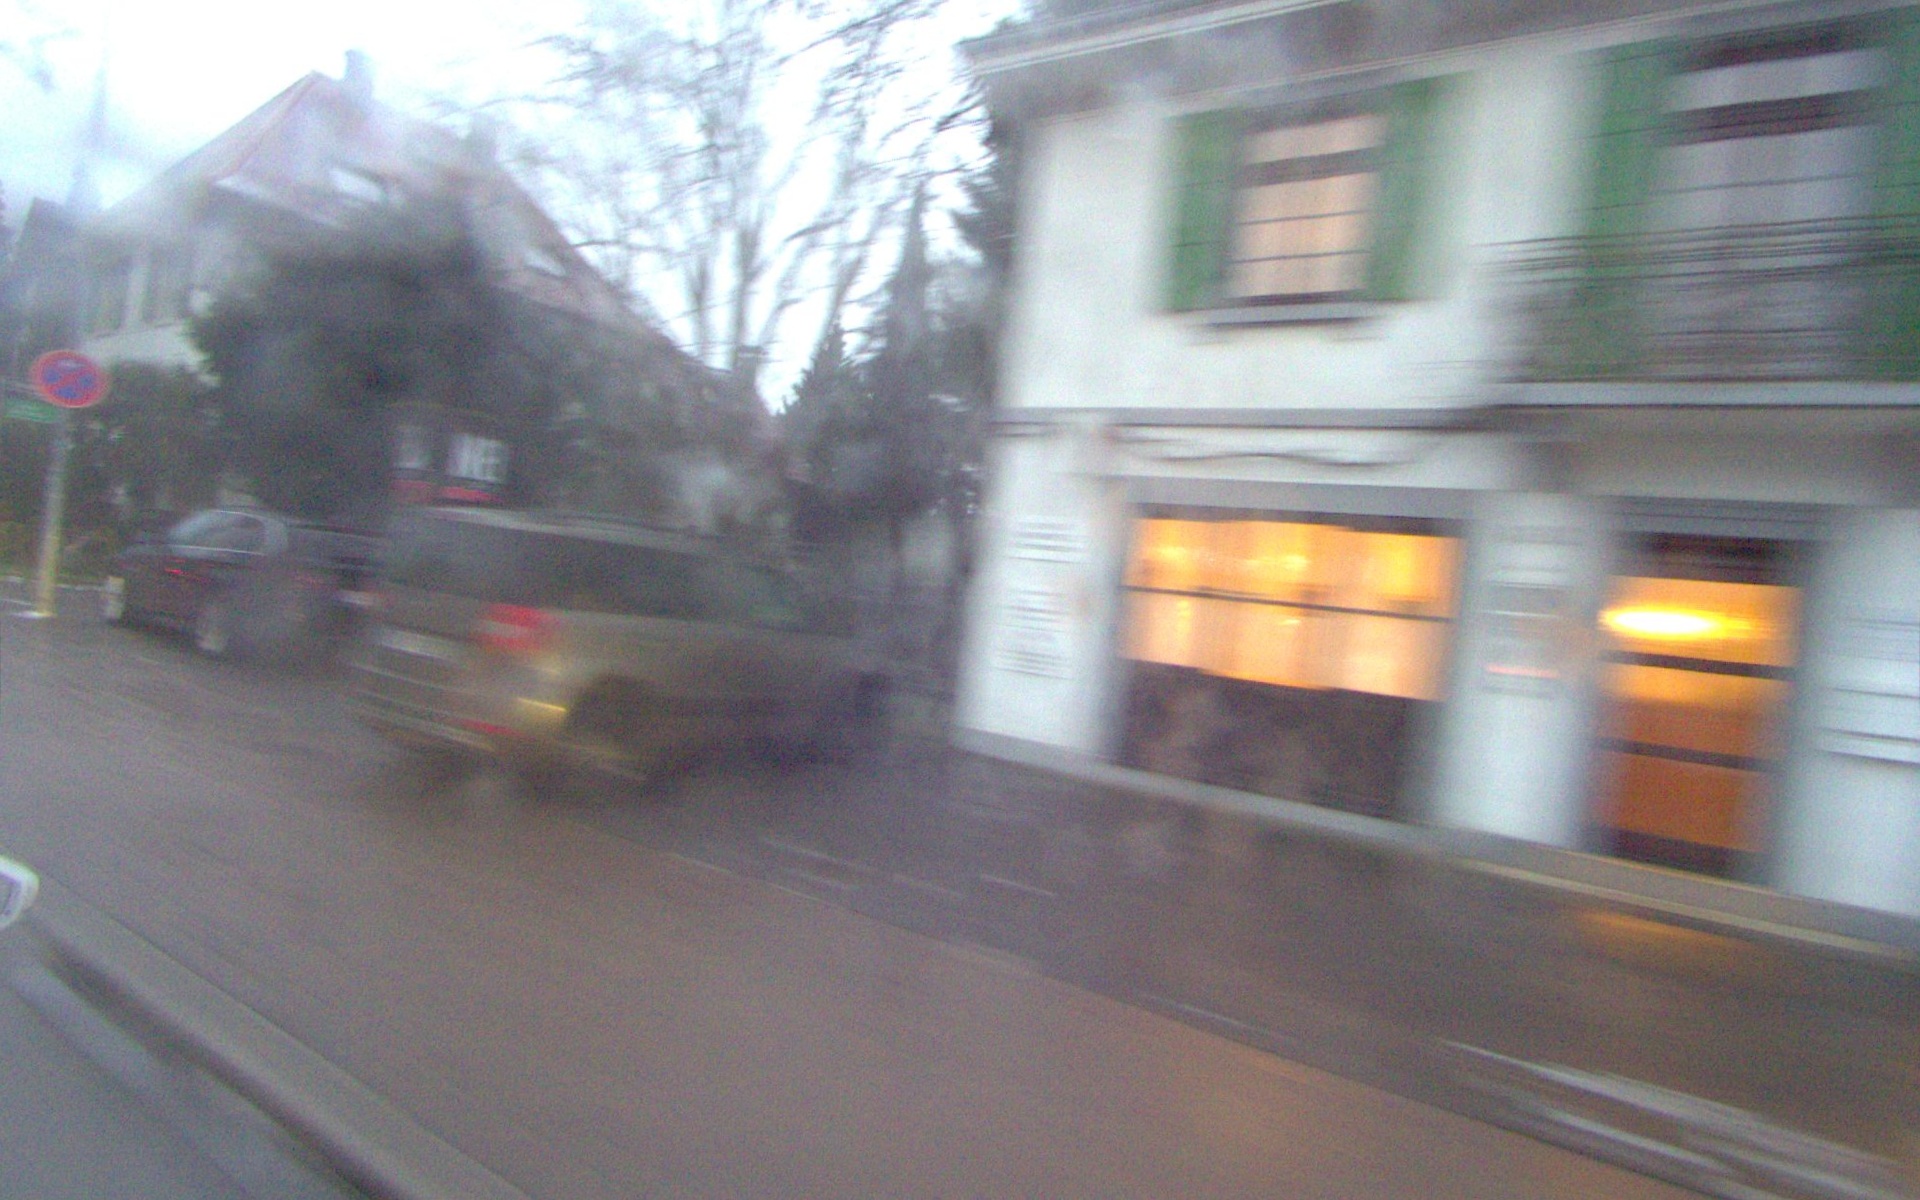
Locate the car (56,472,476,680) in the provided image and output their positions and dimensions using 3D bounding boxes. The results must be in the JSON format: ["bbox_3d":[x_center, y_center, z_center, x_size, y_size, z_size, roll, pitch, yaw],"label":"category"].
[{"bbox_3d":[-7.409,-0.298,10.593,4.678,1.573,1.895,7,0,33],"label":"car"}]

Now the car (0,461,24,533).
[{"bbox_3d":[-25.831,-2.772,24.309,1.967,1.755,4.323,7,2,33],"label":"car"}]

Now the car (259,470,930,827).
[{"bbox_3d":[-2.218,0.268,7.219,1.967,1.728,4.104,6,1,31],"label":"car"}]
